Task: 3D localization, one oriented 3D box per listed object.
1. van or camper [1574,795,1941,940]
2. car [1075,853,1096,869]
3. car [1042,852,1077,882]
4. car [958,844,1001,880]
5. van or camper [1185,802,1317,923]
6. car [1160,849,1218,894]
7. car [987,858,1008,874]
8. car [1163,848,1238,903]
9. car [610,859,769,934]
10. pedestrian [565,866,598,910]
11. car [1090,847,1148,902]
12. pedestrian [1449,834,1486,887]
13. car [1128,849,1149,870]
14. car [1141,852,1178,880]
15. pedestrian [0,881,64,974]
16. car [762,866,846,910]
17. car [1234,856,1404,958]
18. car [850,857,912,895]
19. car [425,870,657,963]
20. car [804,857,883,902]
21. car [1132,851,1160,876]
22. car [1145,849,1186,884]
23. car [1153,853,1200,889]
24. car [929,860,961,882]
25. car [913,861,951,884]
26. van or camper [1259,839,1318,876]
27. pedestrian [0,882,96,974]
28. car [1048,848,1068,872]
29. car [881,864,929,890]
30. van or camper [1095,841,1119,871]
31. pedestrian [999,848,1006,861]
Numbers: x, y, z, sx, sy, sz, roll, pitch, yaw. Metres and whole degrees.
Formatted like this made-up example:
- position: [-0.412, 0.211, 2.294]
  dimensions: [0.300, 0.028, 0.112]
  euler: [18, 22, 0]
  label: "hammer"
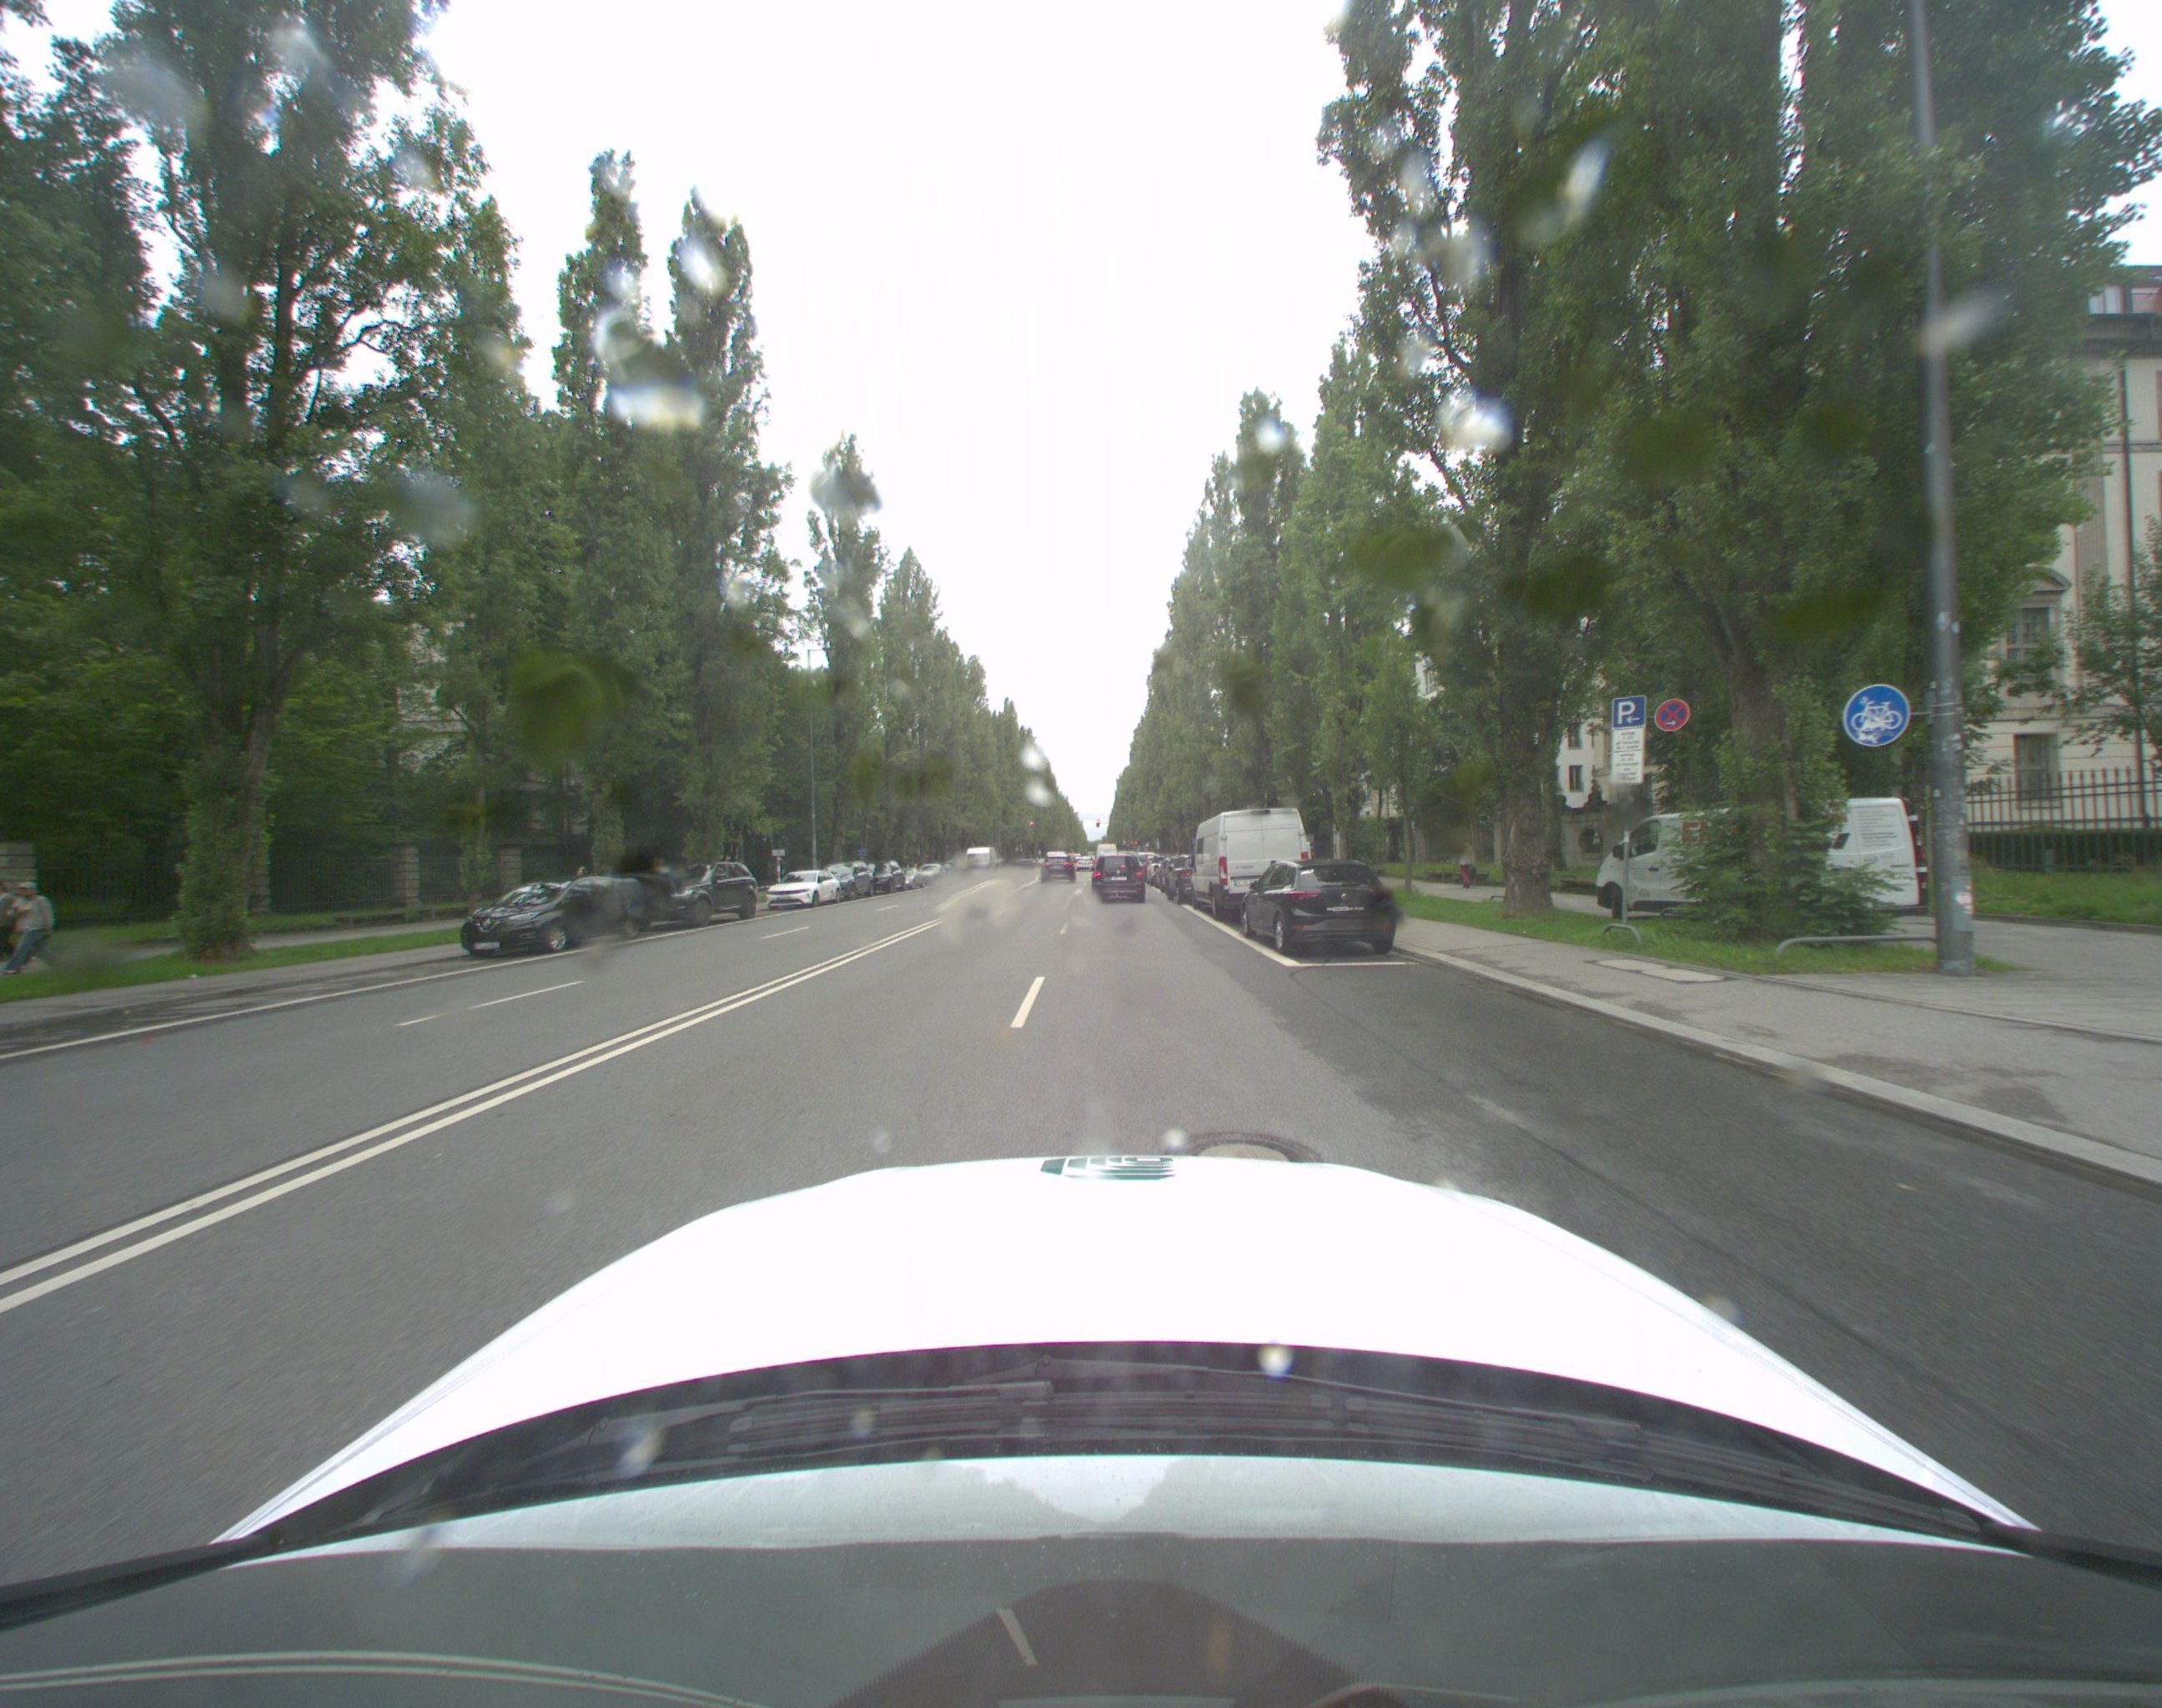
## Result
- position: [10.632, 0.175, 13.484]
  dimensions: [1.968, 1.933, 5.039]
  euler: [-1, 0, 1]
  label: "van or camper"
- position: [0.468, 0.727, 83.687]
  dimensions: [1.987, 1.561, 4.000]
  euler: [-2, 0, 1]
  label: "car"
- position: [-1.214, 0.701, 47.137]
  dimensions: [1.775, 1.620, 4.026]
  euler: [-2, 0, 2]
  label: "car"
- position: [-7.829, 0.591, 63.589]
  dimensions: [2.220, 2.483, 6.759]
  euler: [-3, 0, 1]
  label: "car"
- position: [4.049, 0.188, 20.695]
  dimensions: [2.131, 2.540, 6.419]
  euler: [-2, 0, 2]
  label: "van or camper"
- position: [4.202, 0.626, 32.451]
  dimensions: [1.777, 1.618, 4.639]
  euler: [-2, 0, 1]
  label: "car"
- position: [-9.626, 1.321, 94.247]
  dimensions: [1.844, 1.654, 4.694]
  euler: [-4, 0, -1]
  label: "car"
- position: [3.906, 0.646, 27.340]
  dimensions: [1.779, 1.648, 4.416]
  euler: [-2, 0, -1]
  label: "car"
- position: [-11.129, 1.120, 23.627]
  dimensions: [2.038, 1.786, 4.802]
  euler: [-4, 0, 2]
  label: "car"
- position: [-20.508, 1.370, 33.438]
  dimensions: [0.664, 1.741, 0.957]
  euler: [-2, 0, 2]
  label: "pedestrian"
- position: [1.294, 0.655, 28.120]
  dimensions: [1.849, 1.770, 4.002]
  euler: [0, 0, 2]
  label: "car"
- position: [13.386, 0.220, 28.226]
  dimensions: [0.792, 1.768, 0.895]
  euler: [-2, 0, 1]
  label: "pedestrian"
- position: [5.422, 0.476, 77.161]
  dimensions: [1.729, 1.895, 4.026]
  euler: [-2, 0, 1]
  label: "car"
- position: [4.605, 0.659, 48.104]
  dimensions: [1.873, 1.540, 4.466]
  euler: [-2, 0, 2]
  label: "car"
- position: [-19.249, 1.319, 14.703]
  dimensions: [0.716, 1.605, 0.813]
  euler: [-2, 0, 0]
  label: "pedestrian"
- position: [-10.873, 1.292, 32.329]
  dimensions: [1.698, 1.459, 4.274]
  euler: [-4, 0, 1]
  label: "car"
- position: [3.792, 0.764, 13.698]
  dimensions: [1.671, 1.420, 3.999]
  euler: [-2, 0, 0]
  label: "car"
- position: [-10.598, 1.128, 43.507]
  dimensions: [1.934, 1.767, 4.895]
  euler: [-4, 0, 0]
  label: "car"
- position: [-11.467, 1.239, 17.757]
  dimensions: [1.937, 1.583, 4.391]
  euler: [-4, 0, 2]
  label: "car"
- position: [-10.835, 1.113, 37.640]
  dimensions: [1.902, 1.789, 5.181]
  euler: [-4, 0, 1]
  label: "car"
- position: [5.113, 0.693, 64.611]
  dimensions: [1.845, 1.881, 4.167]
  euler: [-2, 0, -1]
  label: "car"
- position: [4.347, 0.600, 42.413]
  dimensions: [1.736, 1.675, 4.581]
  euler: [-2, 0, 1]
  label: "car"
- position: [4.337, 0.742, 37.479]
  dimensions: [1.696, 1.520, 4.296]
  euler: [-2, 0, 1]
  label: "car"
- position: [-10.317, 1.249, 61.936]
  dimensions: [1.704, 1.451, 3.585]
  euler: [-4, 0, 0]
  label: "car"
- position: [-10.524, 1.286, 57.746]
  dimensions: [1.765, 1.452, 4.233]
  euler: [-4, 0, 0]
  label: "car"
- position: [11.449, 0.174, 45.331]
  dimensions: [2.068, 1.933, 5.371]
  euler: [-1, 0, 2]
  label: "van or camper"
- position: [-18.517, 1.299, 14.548]
  dimensions: [0.716, 1.548, 0.875]
  euler: [-2, 0, 0]
  label: "pedestrian"
- position: [-2.074, 0.572, 73.681]
  dimensions: [1.776, 2.111, 4.022]
  euler: [-1, -1, -1]
  label: "car"
- position: [-10.551, 1.332, 49.037]
  dimensions: [1.820, 1.334, 4.234]
  euler: [-4, 0, 1]
  label: "car"
- position: [2.261, 0.144, 72.472]
  dimensions: [1.969, 2.548, 4.024]
  euler: [-2, 0, 0]
  label: "van or camper"
- position: [-9.687, 0.011, 100.611]
  dimensions: [0.657, 1.577, 0.530]
  euler: [-2, 0, 2]
  label: "pedestrian"
